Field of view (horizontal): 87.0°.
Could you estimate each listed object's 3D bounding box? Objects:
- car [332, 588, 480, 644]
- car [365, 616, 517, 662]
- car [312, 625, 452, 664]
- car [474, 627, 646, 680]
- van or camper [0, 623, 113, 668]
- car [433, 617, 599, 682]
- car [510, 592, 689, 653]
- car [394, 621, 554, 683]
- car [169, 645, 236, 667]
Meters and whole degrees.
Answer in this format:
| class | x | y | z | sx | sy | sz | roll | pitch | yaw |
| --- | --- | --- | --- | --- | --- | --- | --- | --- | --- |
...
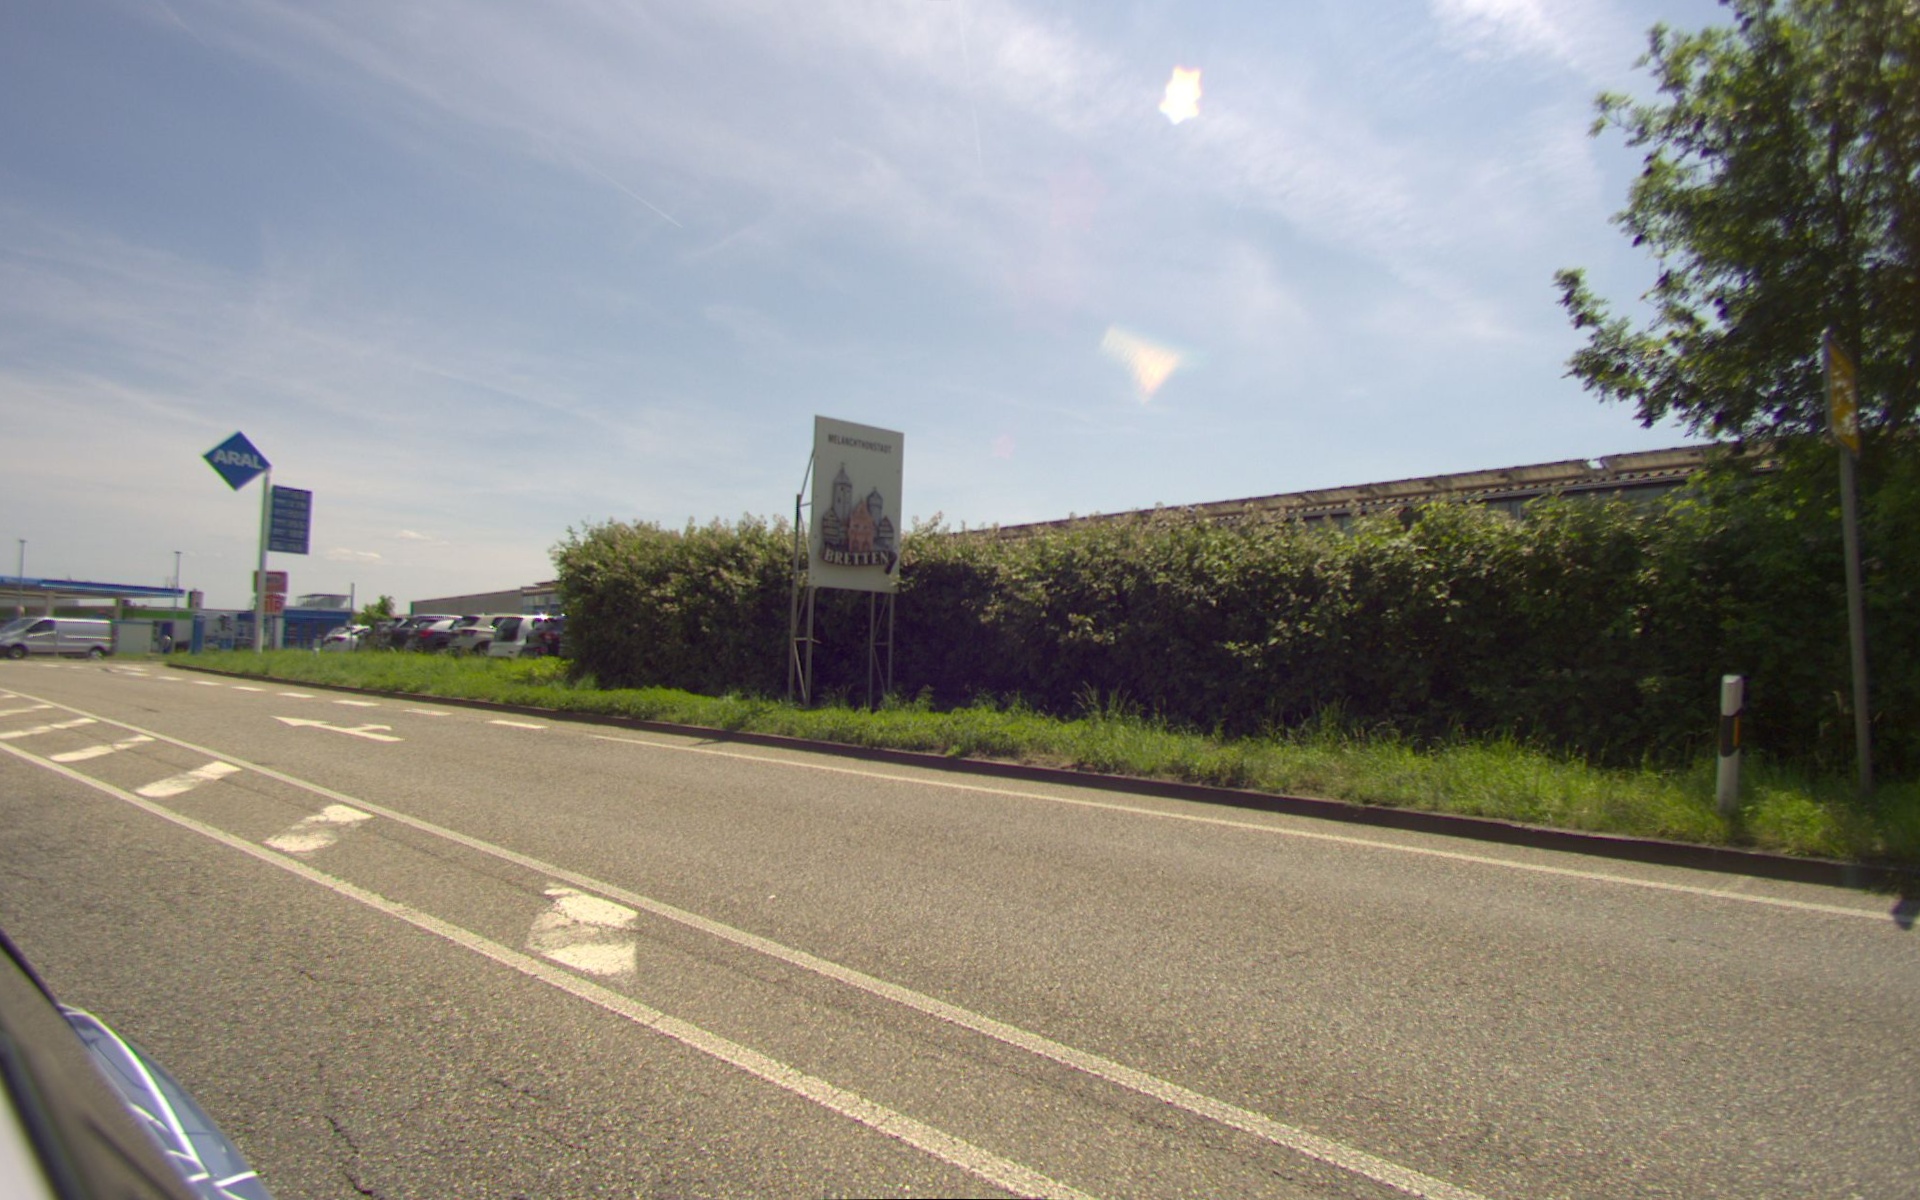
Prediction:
| class | x | y | z | sx | sy | sz | roll | pitch | yaw |
| --- | --- | --- | --- | --- | --- | --- | --- | --- | --- |
| car | -18.617 | 0.565 | 34.102 | 3.940 | 1.763 | 2.002 | 3 | -2 | -44 |
| car | -16.812 | 1.301 | 32.864 | 3.940 | 1.342 | 2.001 | 5 | -5 | -44 |
| car | -21.795 | 1.678 | 38.272 | 2.001 | 1.369 | 4.189 | -2 | -3 | 44 |
| car | -10.887 | 1.495 | 27.727 | 1.834 | 1.327 | 3.942 | -3 | -5 | 43 |
| van or camper | -41.524 | 2.098 | 45.581 | 1.891 | 1.919 | 4.828 | -2 | -4 | 21 |
| car | -12.891 | 1.479 | 29.506 | 3.940 | 1.763 | 2.001 | 5 | -5 | -44 |
| car | -9.254 | 0.633 | 26.158 | 1.820 | 1.373 | 3.943 | -3 | -5 | 43 |
| car | -14.751 | 1.612 | 30.831 | 3.940 | 1.763 | 2.001 | 5 | -5 | -44 |
| car | -58.183 | 4.309 | 77.791 | 3.932 | 1.619 | 1.952 | 2 | -3 | -33 |
